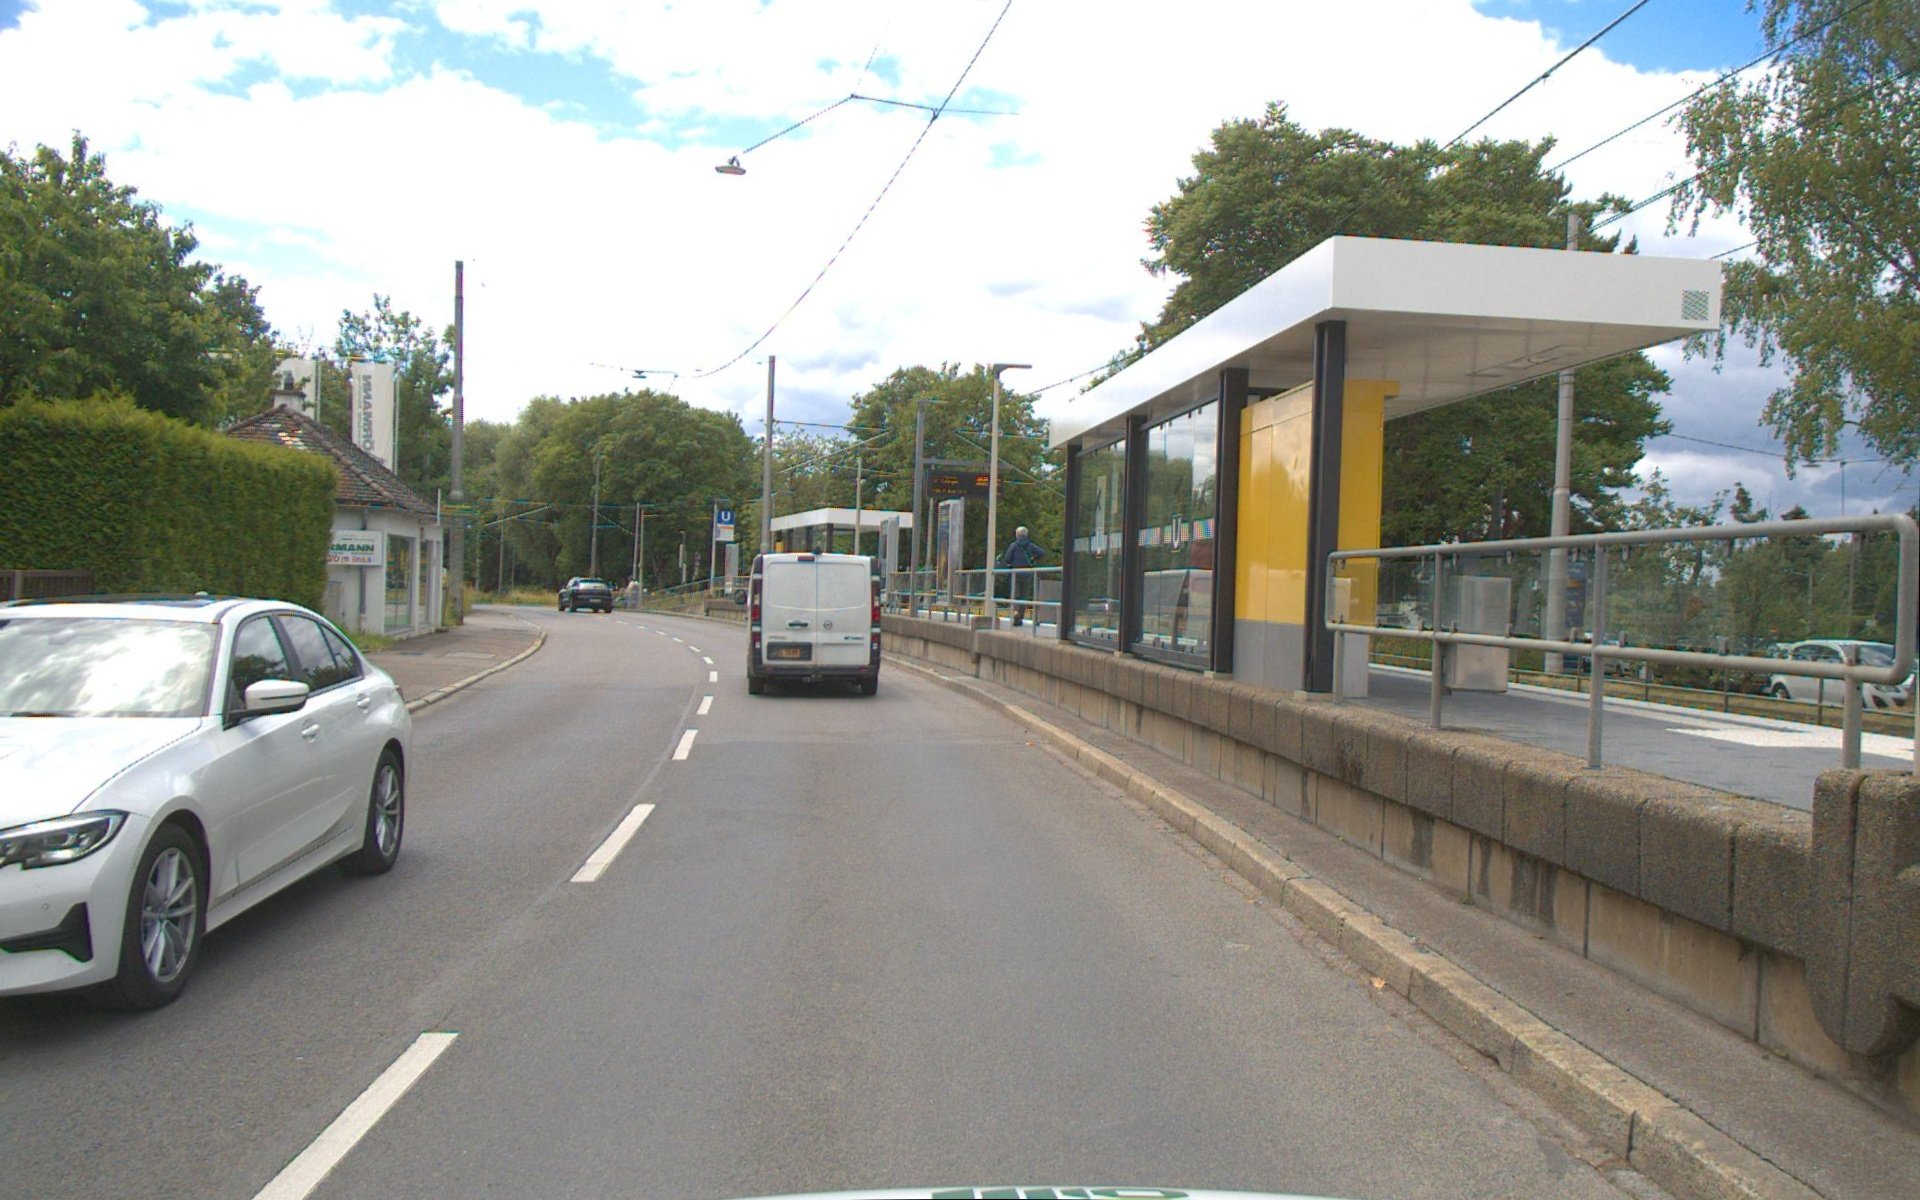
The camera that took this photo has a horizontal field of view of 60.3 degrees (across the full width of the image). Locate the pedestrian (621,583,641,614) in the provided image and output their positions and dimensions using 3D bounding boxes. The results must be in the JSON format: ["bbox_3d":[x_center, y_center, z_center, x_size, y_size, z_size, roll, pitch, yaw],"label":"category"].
[{"bbox_3d":[-16.315,-0.088,81.995,0.754,1.518,0.621,2,0,-42],"label":"pedestrian"}]

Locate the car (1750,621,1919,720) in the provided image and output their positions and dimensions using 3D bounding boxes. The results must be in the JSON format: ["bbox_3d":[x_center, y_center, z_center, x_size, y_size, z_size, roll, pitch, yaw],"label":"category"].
[{"bbox_3d":[16.600,1.268,30.653,1.722,1.601,4.097,2,0,-4],"label":"car"}]

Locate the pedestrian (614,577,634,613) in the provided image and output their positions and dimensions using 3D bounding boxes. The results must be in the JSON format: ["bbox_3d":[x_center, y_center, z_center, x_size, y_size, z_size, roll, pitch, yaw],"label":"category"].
[{"bbox_3d":[-16.921,-0.254,83.320,0.754,1.826,0.621,2,0,-42],"label":"pedestrian"}]

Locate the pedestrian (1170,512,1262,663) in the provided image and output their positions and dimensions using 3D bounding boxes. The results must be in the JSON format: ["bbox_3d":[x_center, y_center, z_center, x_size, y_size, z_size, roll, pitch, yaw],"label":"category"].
[{"bbox_3d":[2.326,-0.111,15.082,0.609,1.321,0.718,2,0,-9],"label":"pedestrian"}]

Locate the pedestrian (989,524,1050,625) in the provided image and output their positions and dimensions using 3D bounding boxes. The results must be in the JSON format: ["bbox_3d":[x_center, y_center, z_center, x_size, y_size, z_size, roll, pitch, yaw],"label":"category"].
[{"bbox_3d":[1.023,-0.435,28.573,0.869,1.700,0.908,2,0,-7],"label":"pedestrian"}]

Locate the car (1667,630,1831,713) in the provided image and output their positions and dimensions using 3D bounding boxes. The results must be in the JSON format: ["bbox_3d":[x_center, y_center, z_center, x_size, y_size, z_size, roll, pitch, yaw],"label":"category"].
[{"bbox_3d":[16.727,1.461,35.312,1.801,1.514,4.505,2,0,7],"label":"car"}]

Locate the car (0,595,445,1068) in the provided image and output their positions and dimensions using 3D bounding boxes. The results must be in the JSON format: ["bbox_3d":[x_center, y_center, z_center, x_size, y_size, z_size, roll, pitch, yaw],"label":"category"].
[{"bbox_3d":[-3.734,0.711,7.265,1.782,1.444,4.460,0,0,-4],"label":"car"}]

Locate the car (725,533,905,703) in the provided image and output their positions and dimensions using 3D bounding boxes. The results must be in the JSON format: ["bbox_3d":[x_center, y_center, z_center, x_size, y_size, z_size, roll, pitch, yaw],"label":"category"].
[{"bbox_3d":[-2.316,0.226,24.881,2.079,2.171,5.426,3,0,-11],"label":"car"}]

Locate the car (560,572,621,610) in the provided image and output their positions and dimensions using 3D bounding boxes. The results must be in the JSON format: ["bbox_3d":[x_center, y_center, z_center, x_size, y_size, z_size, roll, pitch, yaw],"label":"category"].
[{"bbox_3d":[-17.411,-0.404,77.781,2.320,1.591,4.349,4,-1,-19],"label":"car"}]
